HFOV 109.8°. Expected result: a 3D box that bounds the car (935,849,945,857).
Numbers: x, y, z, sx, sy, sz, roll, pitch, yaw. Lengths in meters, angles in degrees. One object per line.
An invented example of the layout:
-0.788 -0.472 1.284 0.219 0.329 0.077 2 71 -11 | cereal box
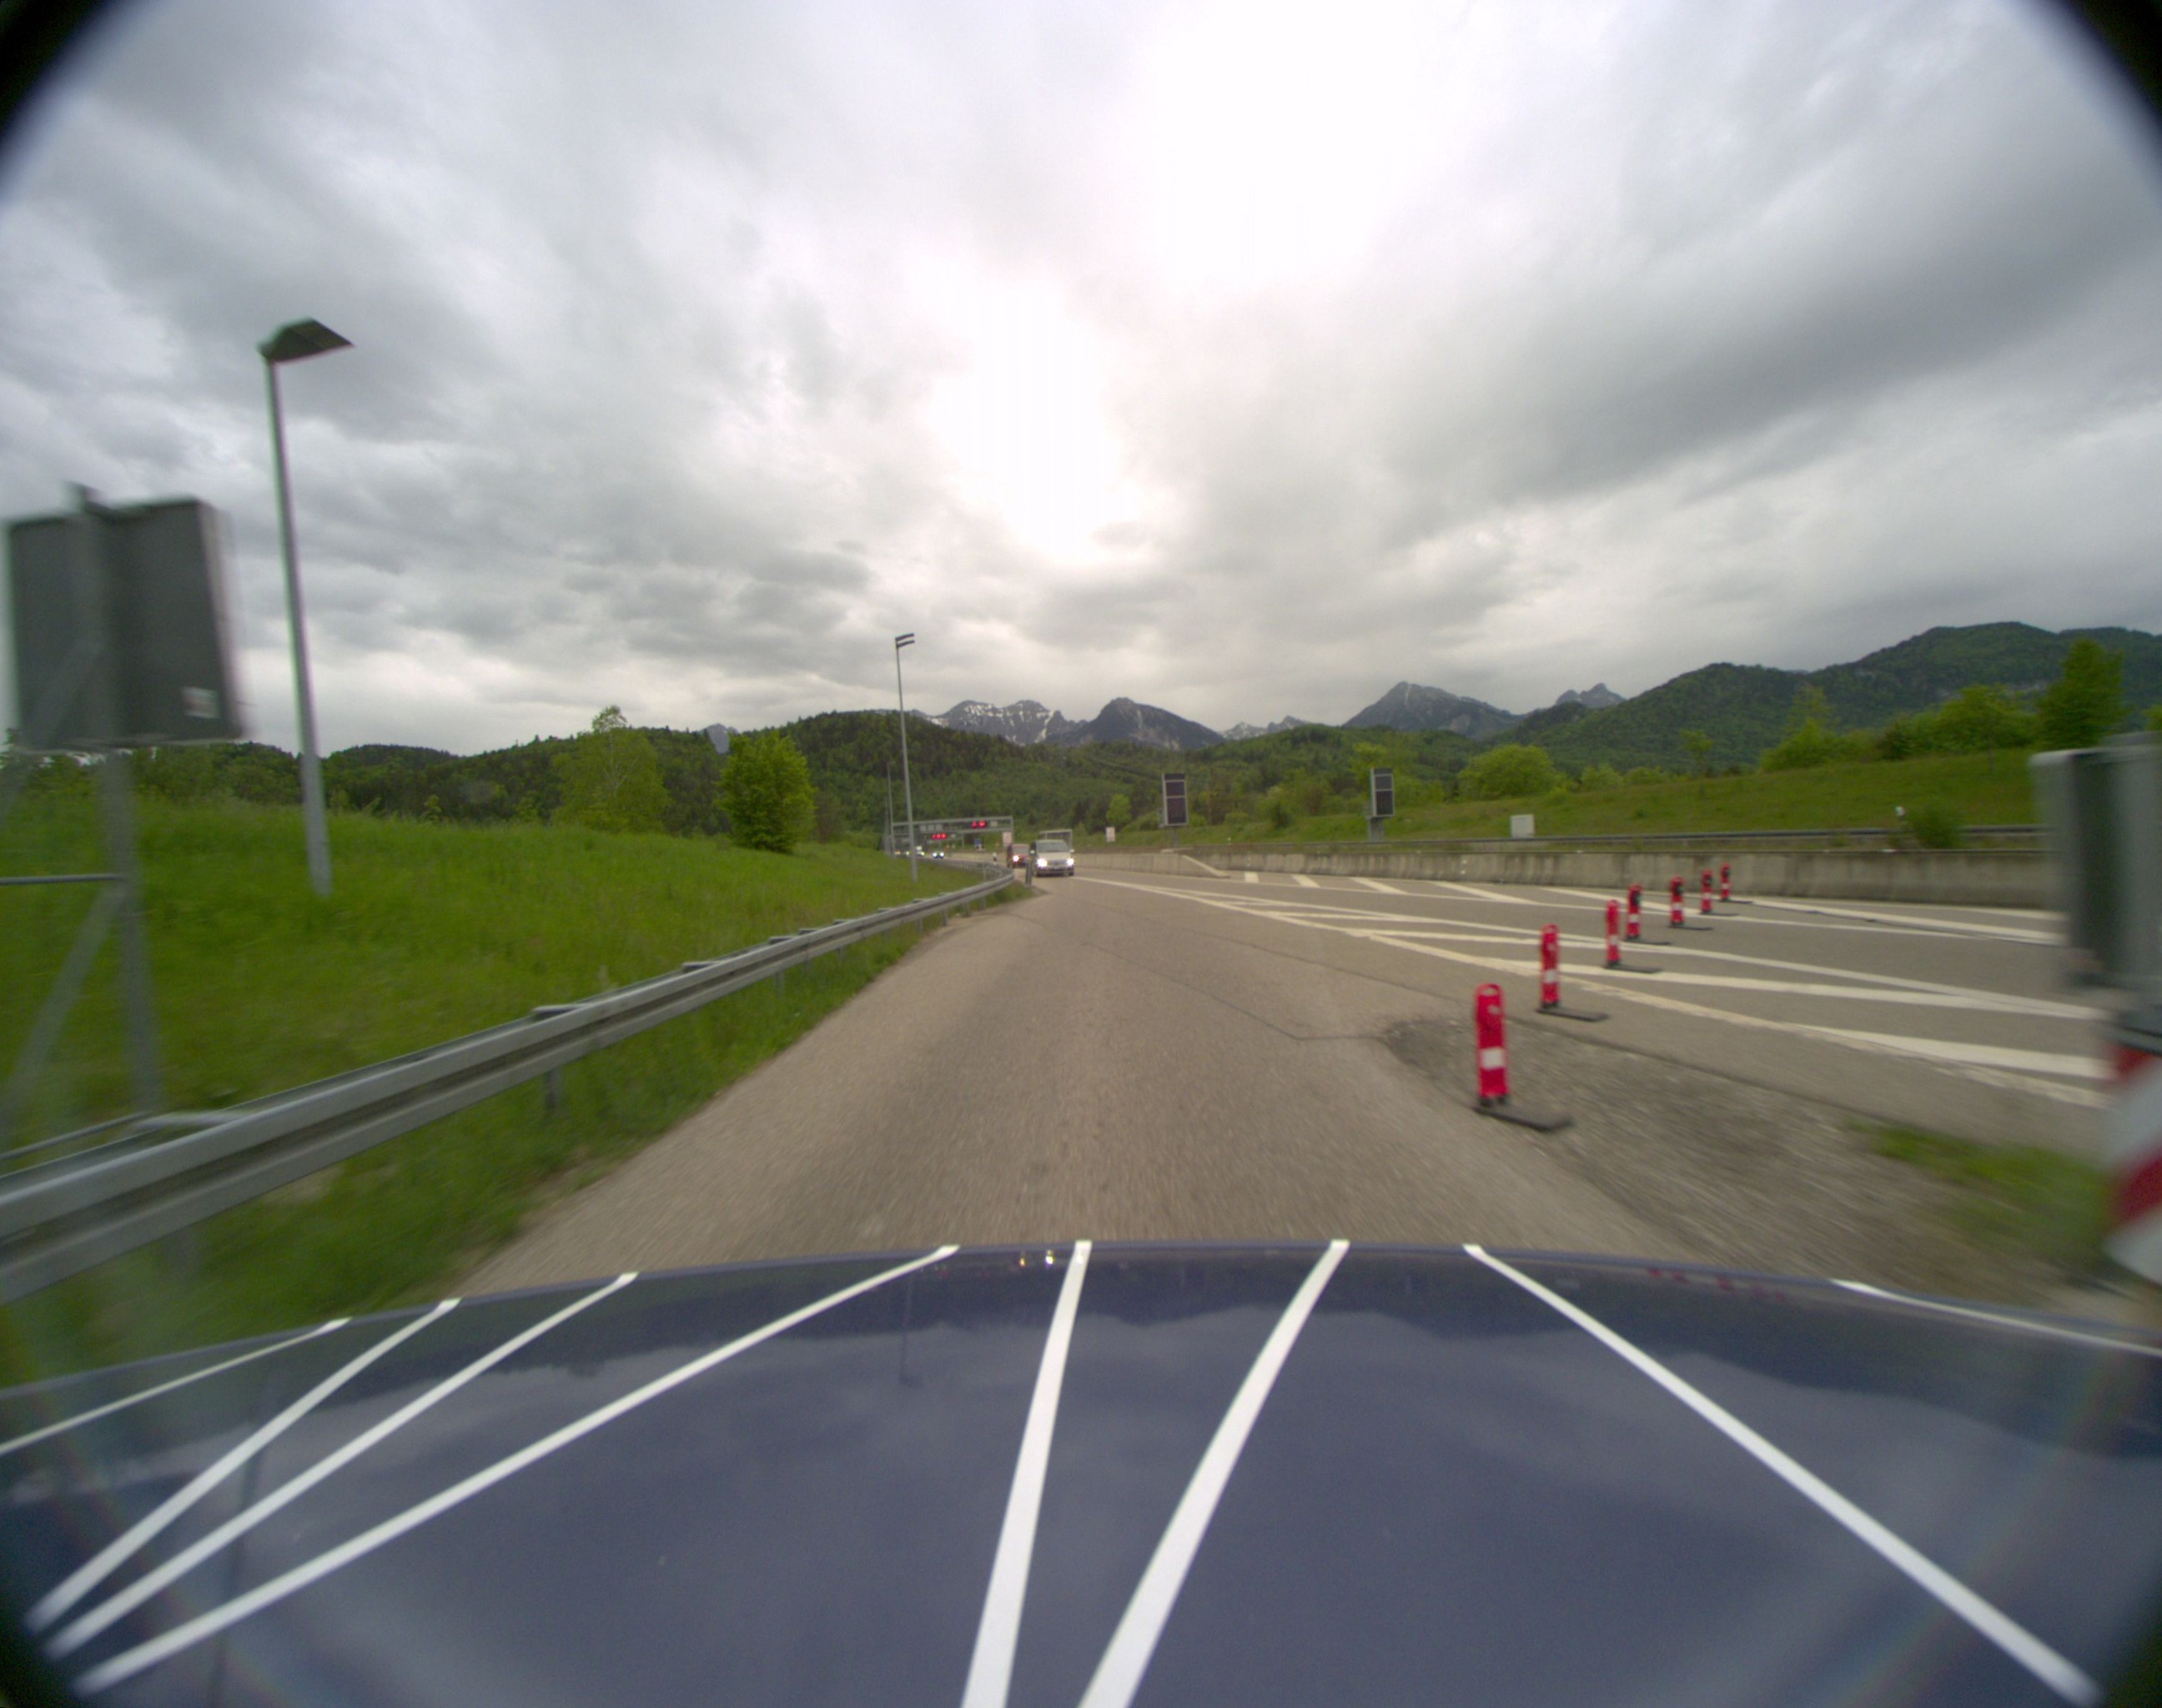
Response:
-27.425 -0.200 147.893 1.665 1.329 3.787 -2 1 -14 | car

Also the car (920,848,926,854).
-46.787 -0.932 224.962 1.632 1.688 3.492 -2 1 -10 | car

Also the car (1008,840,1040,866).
-4.356 -0.083 57.670 1.758 1.795 3.995 -2 1 -13 | car

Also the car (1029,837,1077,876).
-1.518 0.095 39.592 1.924 1.871 5.134 -1 1 -8 | car

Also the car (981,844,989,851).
-25.597 -1.763 202.252 1.915 1.688 3.492 -2 1 -10 | car
